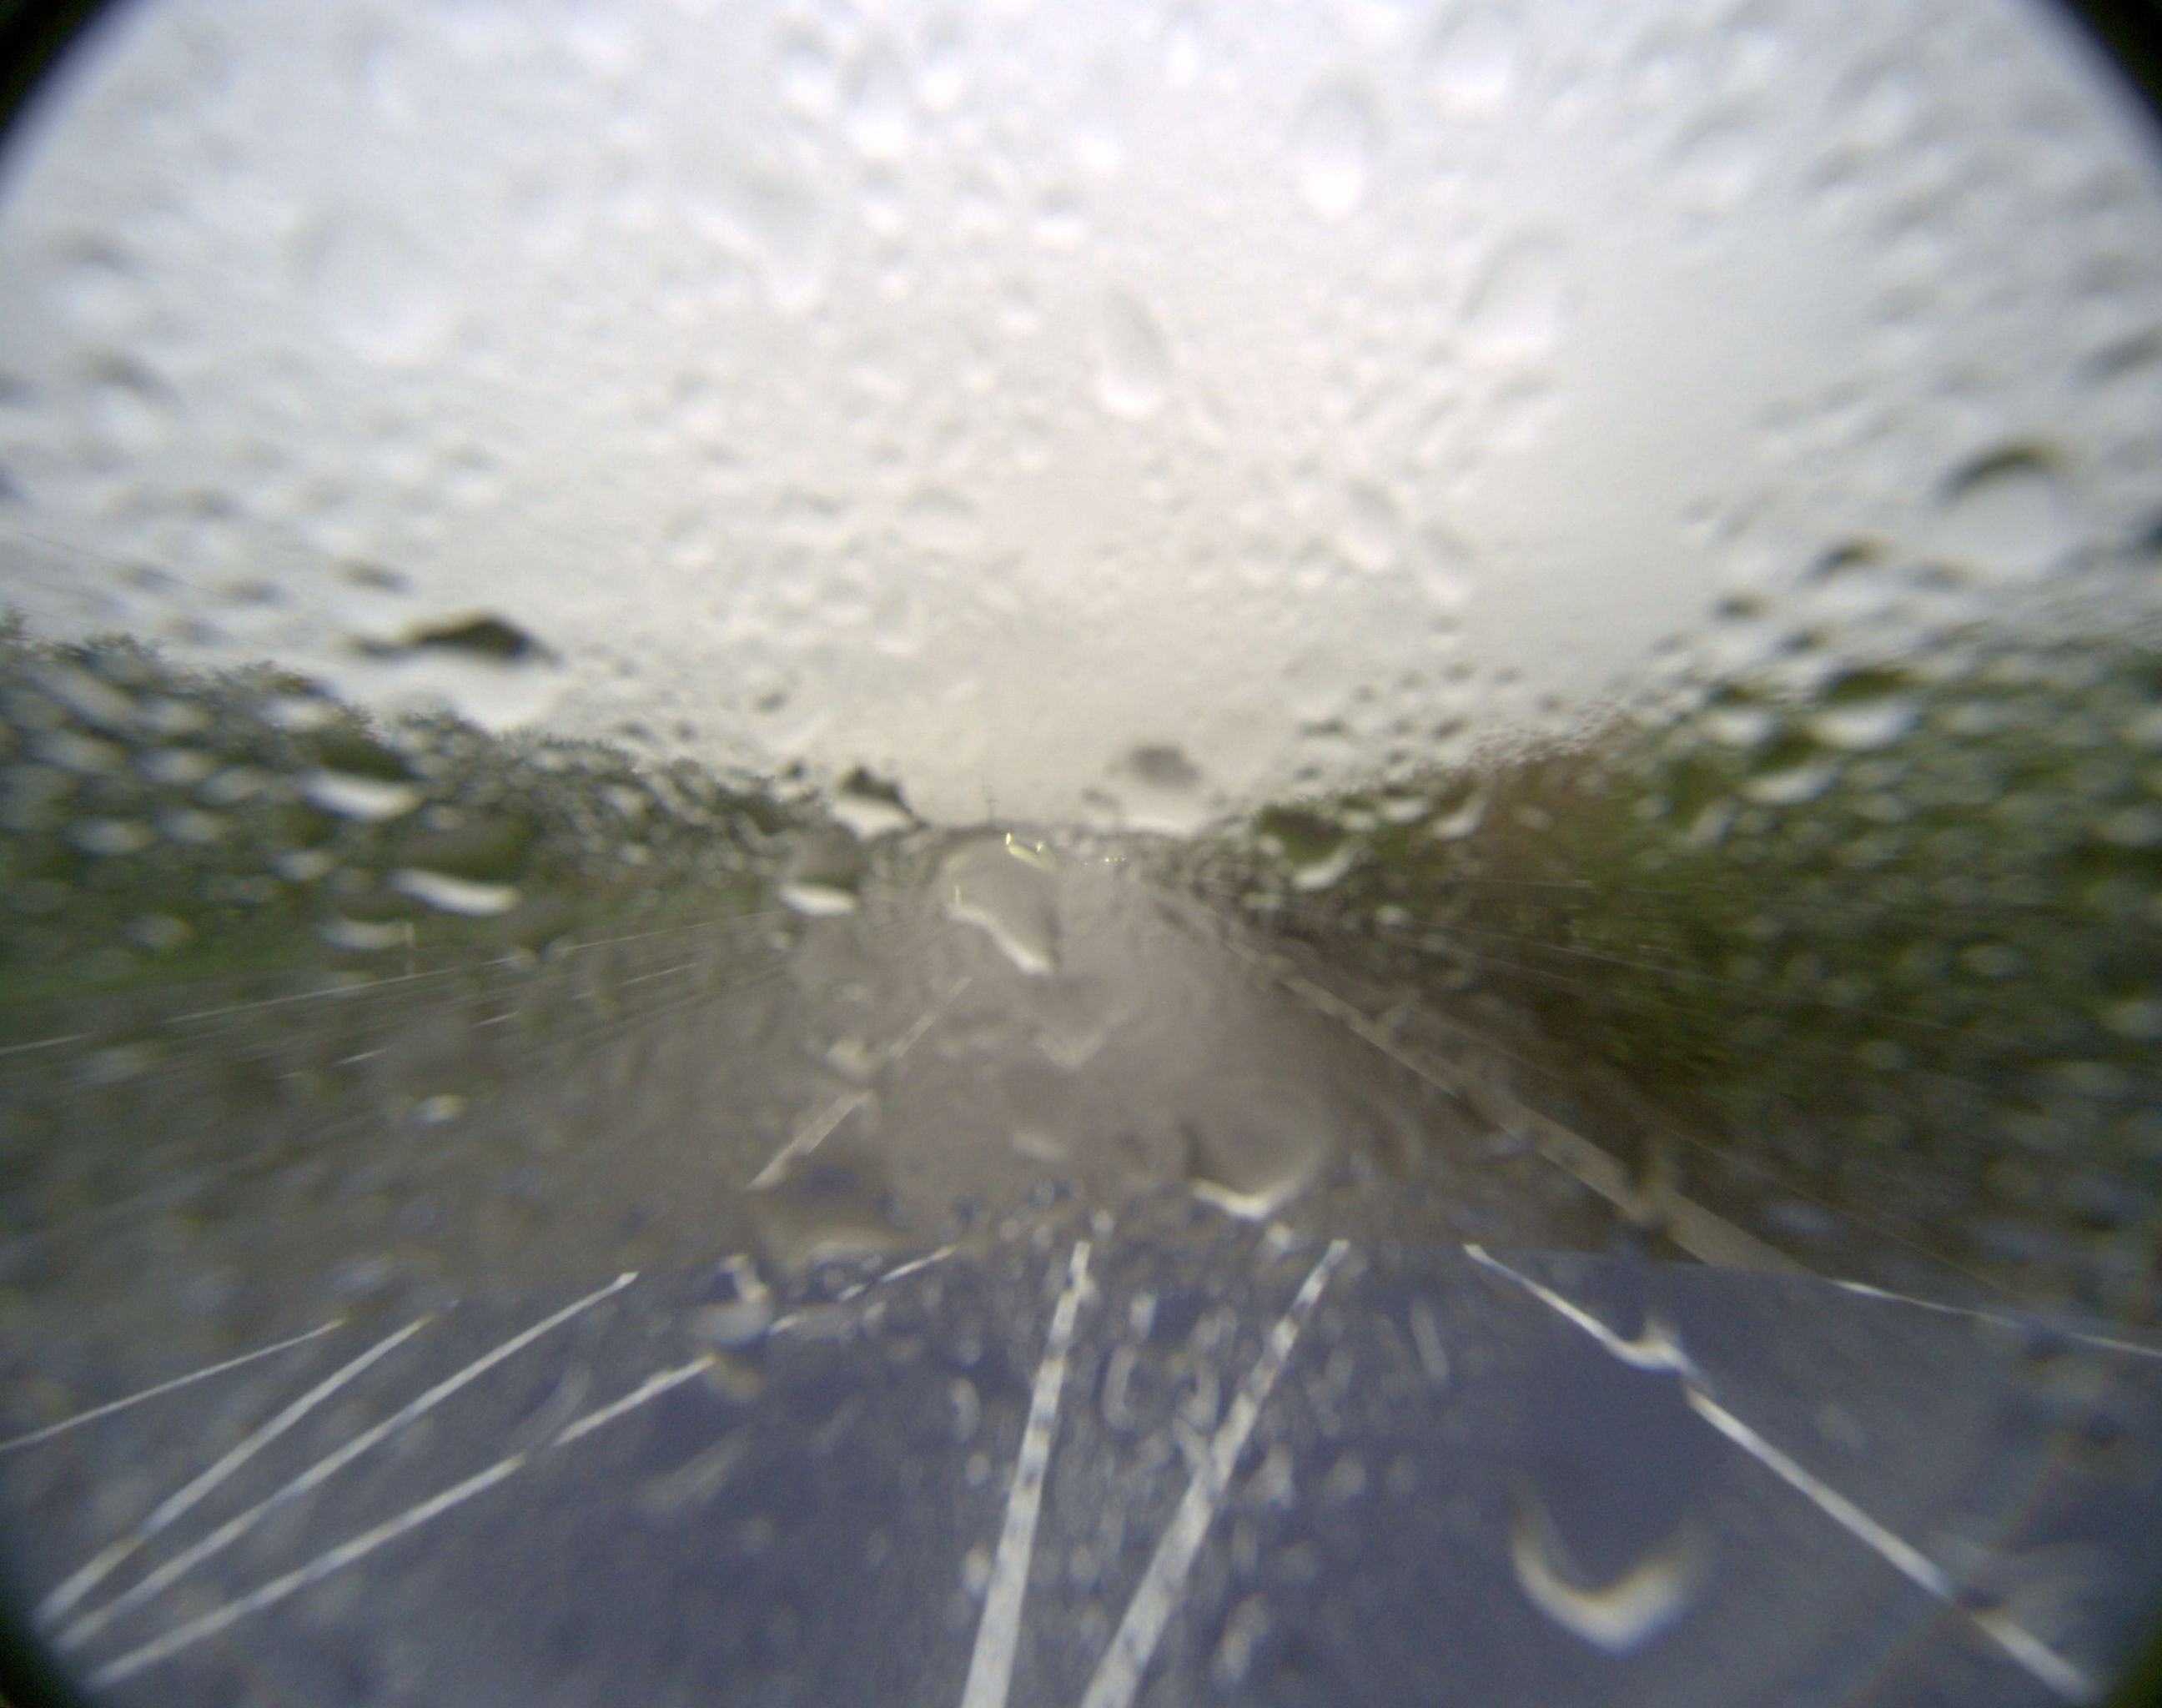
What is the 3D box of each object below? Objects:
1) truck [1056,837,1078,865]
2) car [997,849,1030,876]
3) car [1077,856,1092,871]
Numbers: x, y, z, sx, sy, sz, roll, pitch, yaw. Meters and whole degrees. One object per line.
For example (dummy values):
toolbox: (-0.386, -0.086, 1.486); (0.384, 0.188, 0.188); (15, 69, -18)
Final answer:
truck: (-2.287, -0.532, 131.505); (3.136, 4.641, 11.404); (-2, 0, 1)
car: (-5.227, 0.646, 59.450); (1.998, 2.002, 4.001); (-3, 0, 2)
car: (0.475, 1.286, 105.090); (1.999, 2.002, 3.999); (-2, 0, 0)
